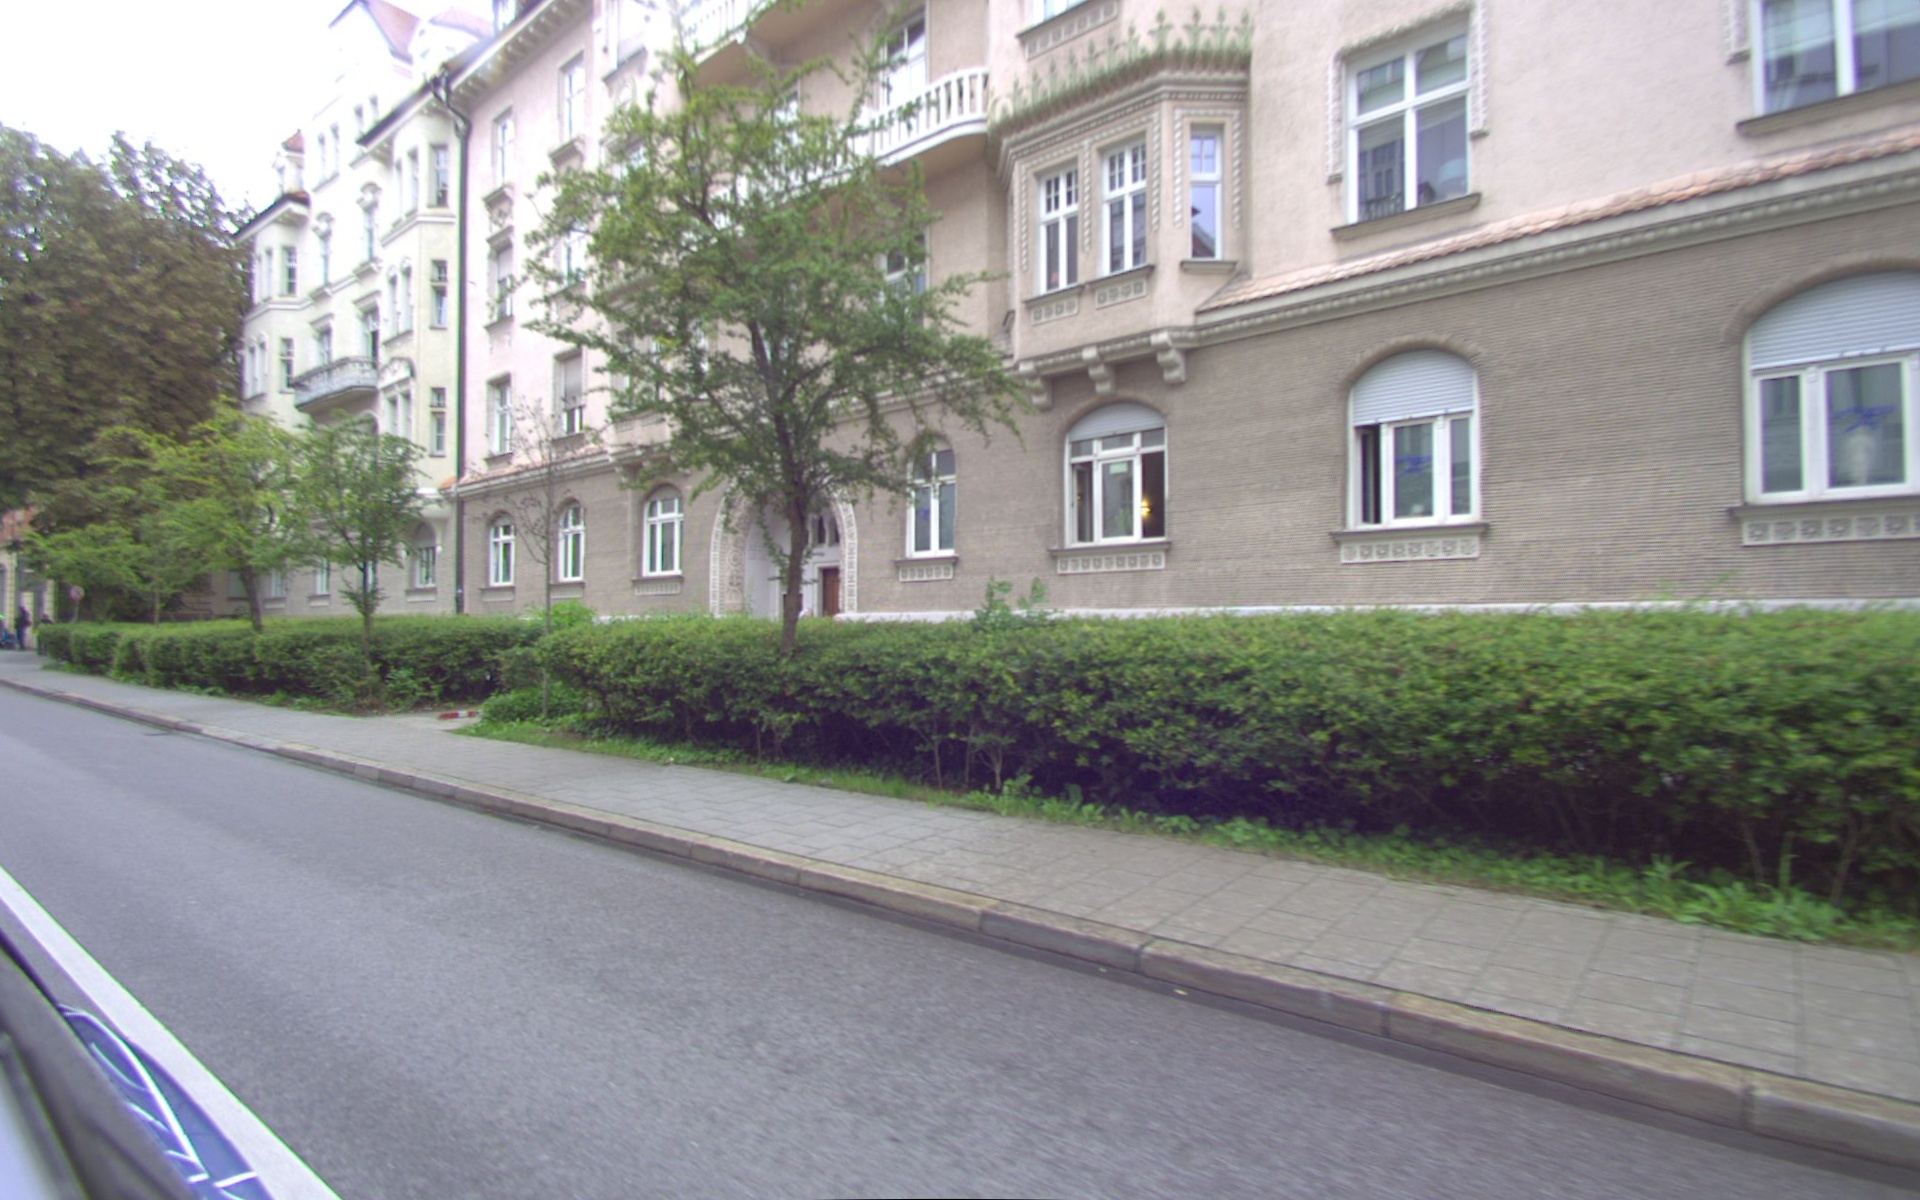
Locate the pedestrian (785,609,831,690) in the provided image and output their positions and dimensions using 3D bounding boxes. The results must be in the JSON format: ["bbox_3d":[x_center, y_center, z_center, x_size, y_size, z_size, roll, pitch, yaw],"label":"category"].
[{"bbox_3d":[-3.106,1.013,20.721,0.718,1.623,0.605,-1,-2,28],"label":"pedestrian"}]

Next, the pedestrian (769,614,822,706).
[{"bbox_3d":[-2.984,1.075,18.344,0.718,1.623,0.605,-1,-2,28],"label":"pedestrian"}]

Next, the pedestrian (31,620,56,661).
[{"bbox_3d":[-37.093,1.626,40.942,0.661,1.633,0.617,-1,-3,40],"label":"pedestrian"}]

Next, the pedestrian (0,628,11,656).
[{"bbox_3d":[-43.848,1.922,46.307,0.577,1.253,0.539,-1,-3,40],"label":"pedestrian"}]

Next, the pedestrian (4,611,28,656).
[{"bbox_3d":[-41.574,1.462,44.570,0.661,1.971,0.617,-2,-3,40],"label":"pedestrian"}]
